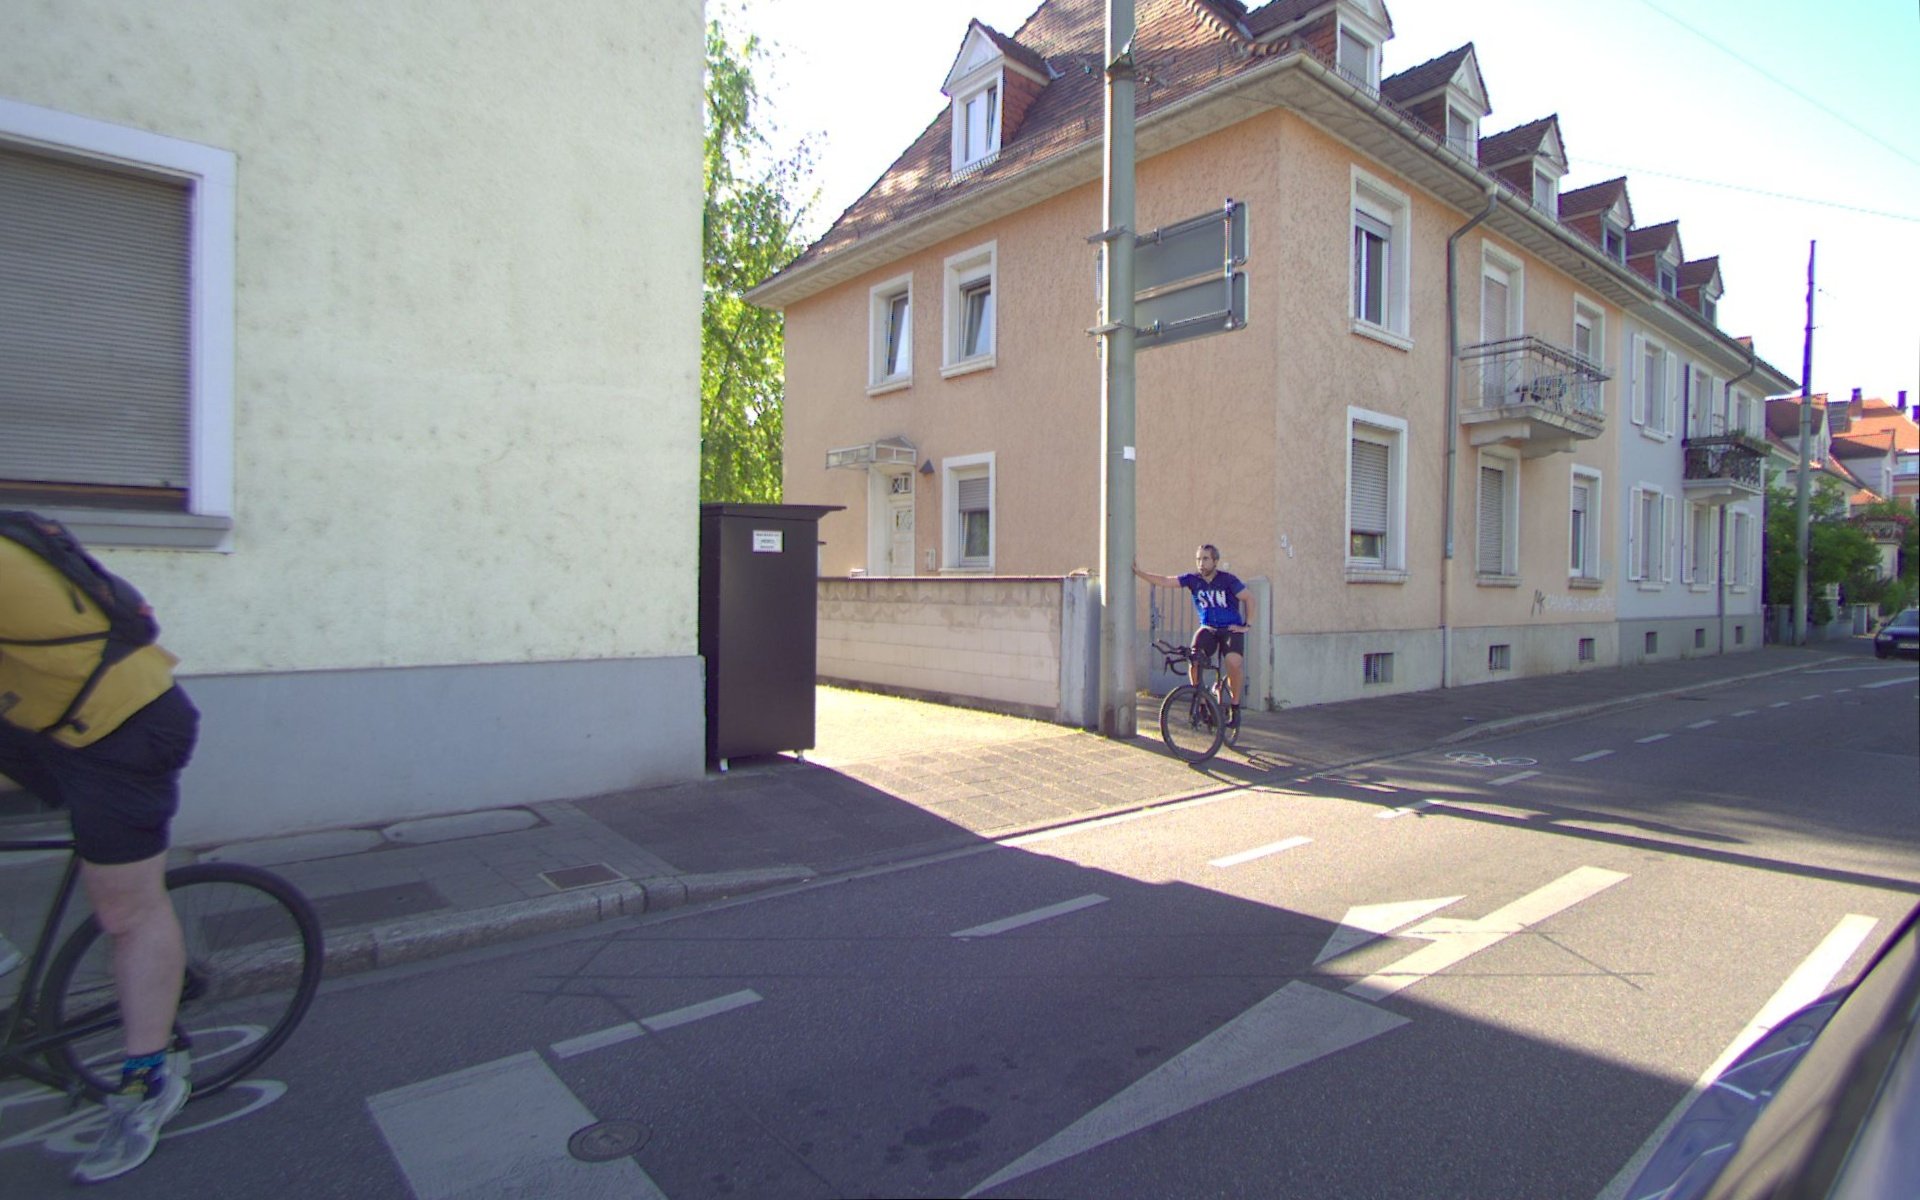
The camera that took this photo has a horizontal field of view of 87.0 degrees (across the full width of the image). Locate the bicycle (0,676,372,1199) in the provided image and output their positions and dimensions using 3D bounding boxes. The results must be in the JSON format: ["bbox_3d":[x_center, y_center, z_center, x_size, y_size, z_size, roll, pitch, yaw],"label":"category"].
[{"bbox_3d":[-2.481,0.844,2.534,1.669,1.180,0.572,0,1,-41],"label":"bicycle"}]

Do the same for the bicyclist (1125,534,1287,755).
[{"bbox_3d":[2.279,0.361,9.433,0.831,1.887,1.076,0,4,-40],"label":"bicyclist"}]

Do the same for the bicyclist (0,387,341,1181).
[{"bbox_3d":[-2.305,0.421,2.699,1.018,1.840,0.653,0,1,-41],"label":"bicyclist"}]

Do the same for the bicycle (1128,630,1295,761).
[{"bbox_3d":[2.312,0.818,9.208,1.669,1.003,0.572,0,4,-41],"label":"bicycle"}]

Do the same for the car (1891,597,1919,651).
[{"bbox_3d":[26.694,0.631,27.343,3.796,1.382,1.648,0,1,-38],"label":"car"}]
